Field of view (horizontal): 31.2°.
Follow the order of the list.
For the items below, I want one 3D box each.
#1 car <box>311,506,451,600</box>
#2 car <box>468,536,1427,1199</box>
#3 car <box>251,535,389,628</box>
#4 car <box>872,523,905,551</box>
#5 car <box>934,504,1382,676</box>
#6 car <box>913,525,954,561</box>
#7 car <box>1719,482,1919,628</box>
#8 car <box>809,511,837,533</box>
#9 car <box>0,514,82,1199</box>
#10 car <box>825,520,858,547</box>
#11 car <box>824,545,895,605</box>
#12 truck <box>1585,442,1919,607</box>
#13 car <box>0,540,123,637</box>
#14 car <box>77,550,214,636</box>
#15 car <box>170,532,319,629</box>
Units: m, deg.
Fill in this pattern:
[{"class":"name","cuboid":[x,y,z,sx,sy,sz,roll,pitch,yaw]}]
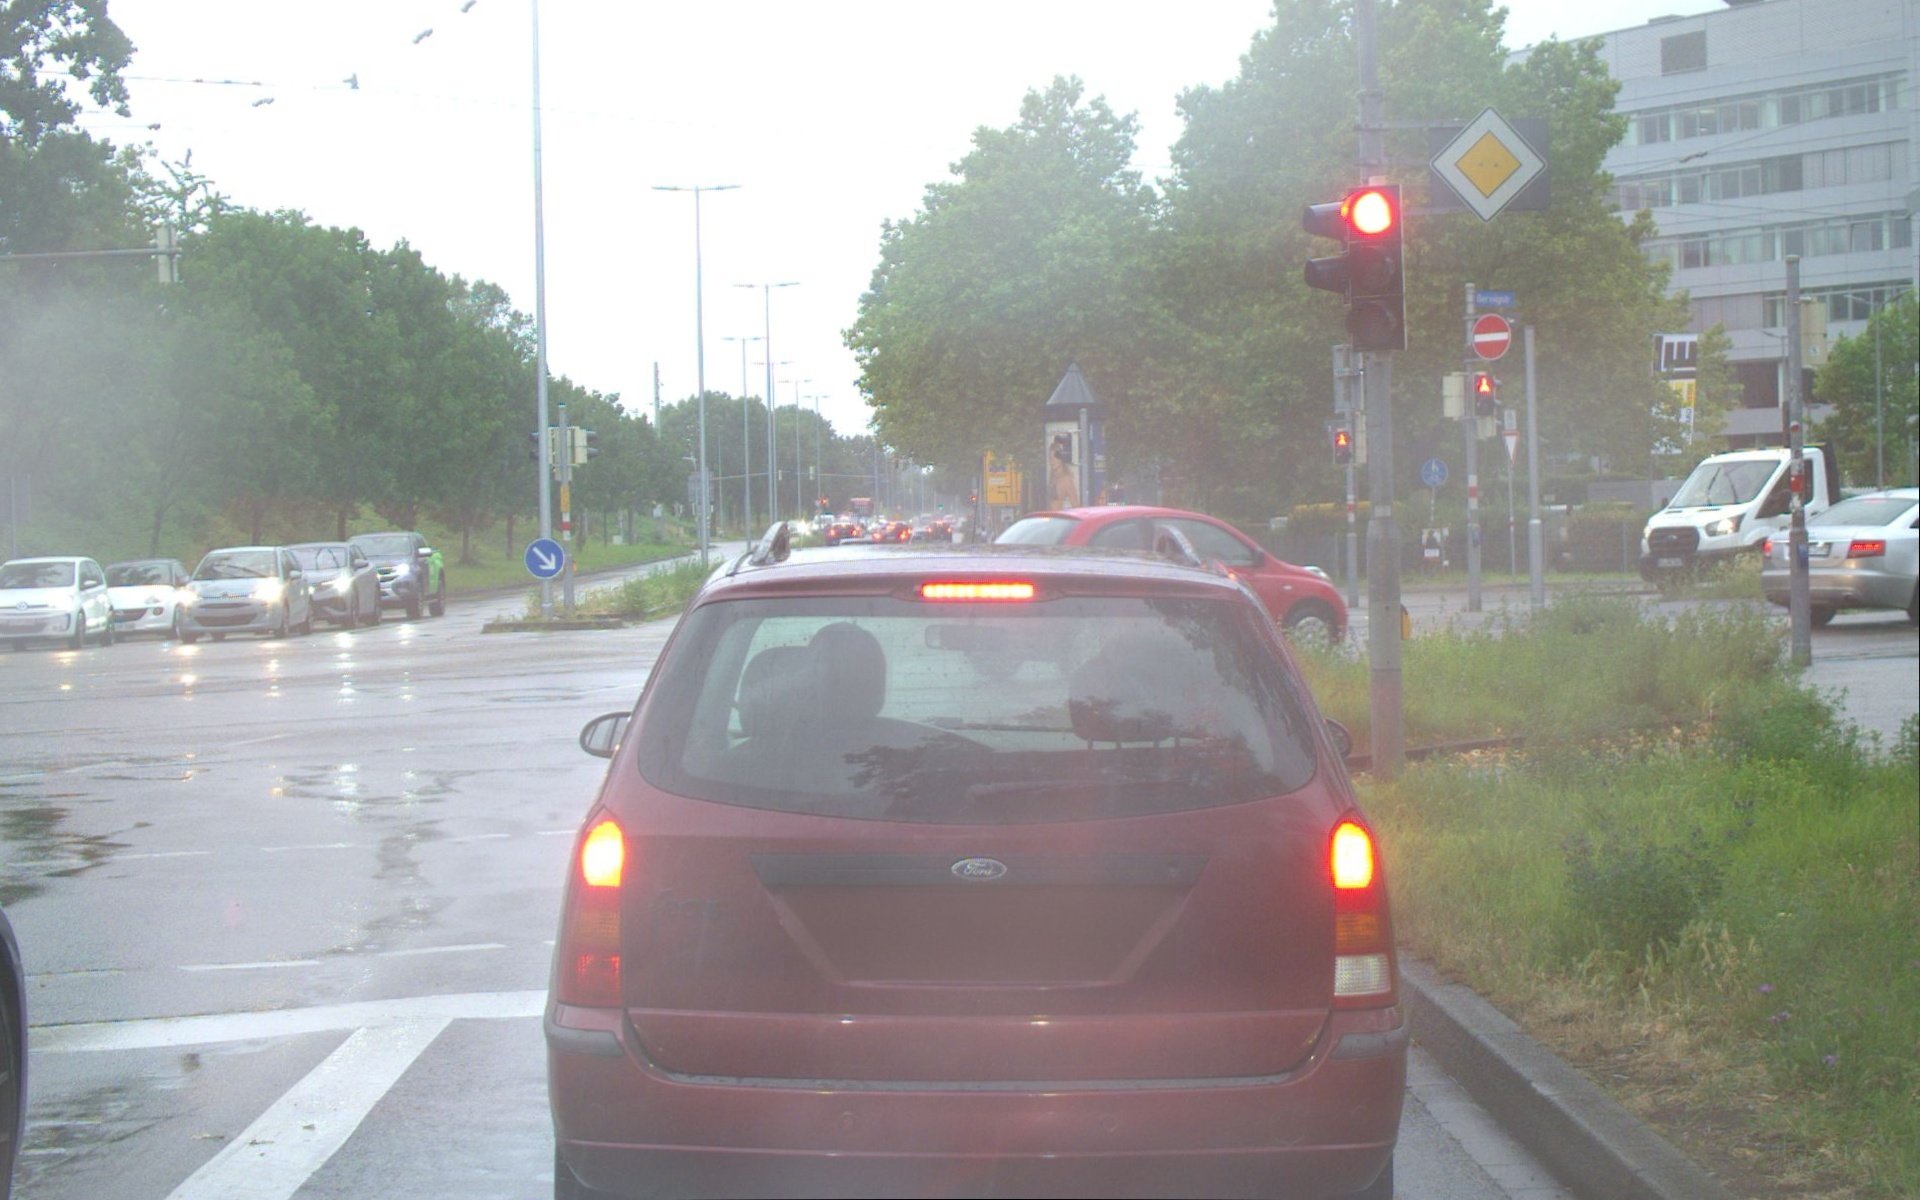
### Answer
[{"class":"car","cuboid":[-11.972,-1.000,71.392,2.065,1.813,5.542,-2,1,-2]},{"class":"car","cuboid":[-0.072,0.605,7.810,1.642,1.460,3.733,1,1,-2]},{"class":"car","cuboid":[-11.739,-0.355,63.292,1.762,1.580,4.814,-2,1,-2]},{"class":"car","cuboid":[-4.025,-3.547,193.442,1.698,1.522,3.846,-1,1,1]},{"class":"car","cuboid":[1.826,-0.126,31.354,3.804,1.485,1.678,-1,1,-32]},{"class":"car","cuboid":[-1.166,-2.522,150.940,1.671,1.522,3.846,-1,1,1]},{"class":"car","cuboid":[10.651,-0.516,37.145,4.814,1.485,1.927,-2,1,-33]},{"class":"car","cuboid":[-9.751,-5.525,244.852,1.698,1.522,3.846,-1,1,1]},{"class":"car","cuboid":[-2.689,0.649,4.859,1.769,1.568,4.822,1,1,-2]},{"class":"car","cuboid":[-6.964,-3.933,202.091,1.698,1.522,3.846,-1,1,1]},{"class":"car","cuboid":[-3.090,-0.775,104.857,1.993,1.784,4.001,1,1,-4]},{"class":"truck","cuboid":[12.865,-1.190,52.637,6.847,2.357,2.482,-2,1,-37]},{"class":"car","cuboid":[-14.636,-0.202,55.116,1.638,1.447,3.788,-2,1,-3]},{"class":"car","cuboid":[-14.514,-0.153,61.444,1.590,1.399,3.823,-2,1,-2]},{"class":"car","cuboid":[-11.637,-0.346,56.159,1.638,1.468,3.965,-2,1,-1]}]
